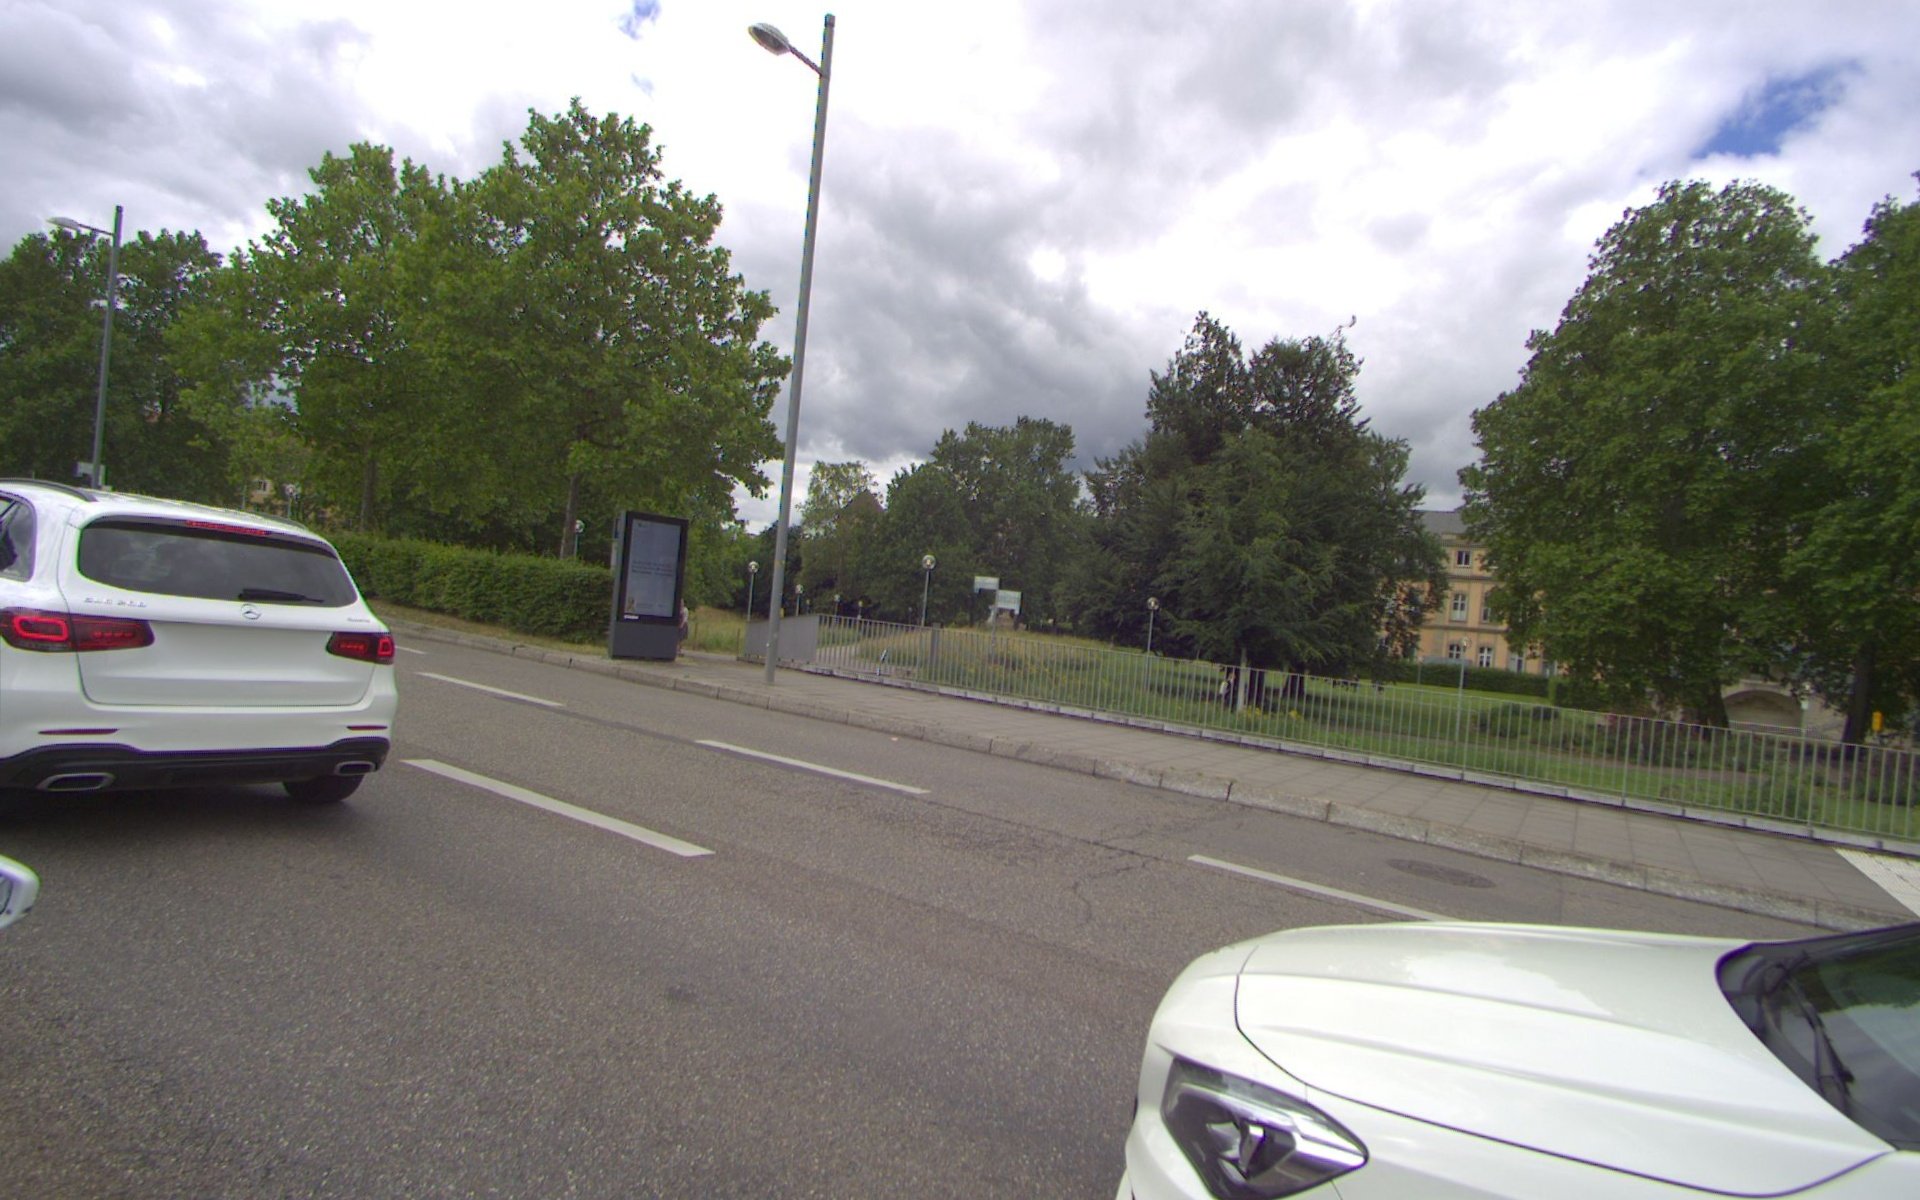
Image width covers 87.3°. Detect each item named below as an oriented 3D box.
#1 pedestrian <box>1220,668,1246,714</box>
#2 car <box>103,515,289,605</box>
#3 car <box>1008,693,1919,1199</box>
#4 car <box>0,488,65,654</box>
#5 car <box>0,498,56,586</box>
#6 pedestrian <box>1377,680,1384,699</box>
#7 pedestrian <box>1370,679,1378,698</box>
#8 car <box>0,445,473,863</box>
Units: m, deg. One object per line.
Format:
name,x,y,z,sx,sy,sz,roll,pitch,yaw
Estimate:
pedestrian,10.083,3.354,37.187,0.645,1.619,0.684,6,-2,3
car,-16.276,-0.873,21.372,4.460,1.476,1.932,5,-3,38
car,2.446,1.145,1.440,4.454,1.436,1.796,5,-2,33
car,-11.387,-0.514,10.452,4.417,1.569,1.929,6,-2,33
car,-20.747,-1.392,20.677,4.233,1.659,1.997,7,-1,31
pedestrian,38.956,8.285,93.207,0.460,1.725,0.405,5,-2,32
pedestrian,38.236,8.171,93.002,0.460,1.756,0.405,5,-2,32
car,-5.152,0.095,5.986,4.417,1.673,1.929,7,-1,33
